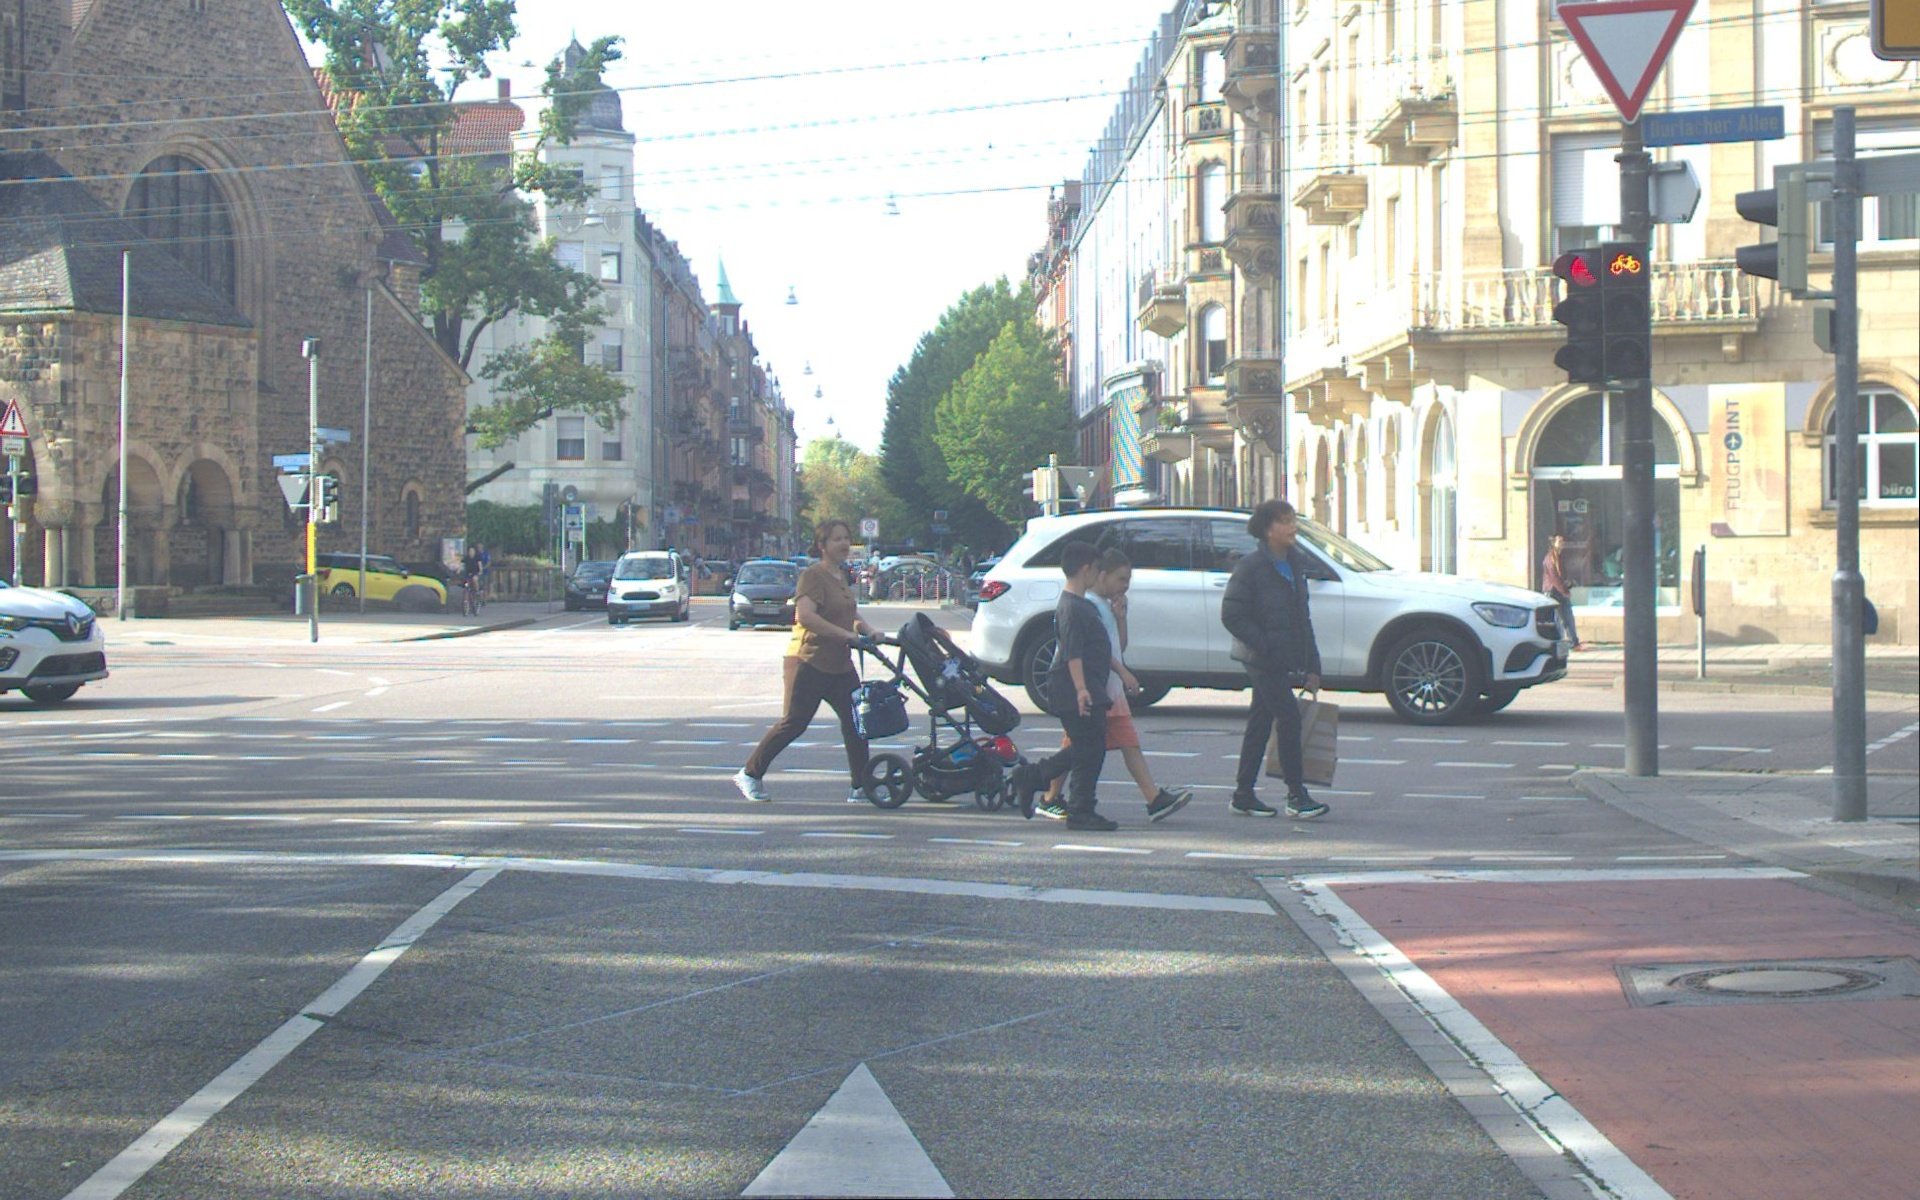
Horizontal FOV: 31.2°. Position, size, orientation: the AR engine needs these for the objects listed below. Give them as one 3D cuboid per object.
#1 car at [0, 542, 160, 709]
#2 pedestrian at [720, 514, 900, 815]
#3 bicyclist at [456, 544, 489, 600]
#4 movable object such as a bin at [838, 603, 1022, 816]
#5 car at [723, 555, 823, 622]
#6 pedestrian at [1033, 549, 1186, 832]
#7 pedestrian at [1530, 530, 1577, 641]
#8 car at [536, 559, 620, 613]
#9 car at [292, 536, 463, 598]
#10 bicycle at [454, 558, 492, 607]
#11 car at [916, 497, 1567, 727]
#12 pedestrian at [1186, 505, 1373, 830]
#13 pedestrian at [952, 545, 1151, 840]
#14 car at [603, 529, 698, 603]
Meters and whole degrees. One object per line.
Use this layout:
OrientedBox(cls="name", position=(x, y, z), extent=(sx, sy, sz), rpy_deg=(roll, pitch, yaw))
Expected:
OrientedBox(cls="car", position=(-9.805, 0.202, 31.964), extent=(4.251, 1.474, 1.896), rpy_deg=(0, 1, 19))
OrientedBox(cls="pedestrian", position=(-0.827, 0.342, 19.030), extent=(0.816, 1.623, 0.604), rpy_deg=(0, 1, 24))
OrientedBox(cls="bicyclist", position=(-11.955, -0.692, 84.338), extent=(0.683, 1.363, 0.780), rpy_deg=(0, 1, -1))
OrientedBox(cls="movable object such as a bin", position=(-0.159, 0.583, 18.685), extent=(0.838, 1.120, 0.575), rpy_deg=(0, 1, 23))
OrientedBox(cls="car", position=(-3.969, -0.271, 73.473), extent=(1.949, 1.367, 4.000), rpy_deg=(0, 1, -1))
OrientedBox(cls="pedestrian", position=(0.775, 0.452, 17.722), extent=(0.656, 1.427, 0.498), rpy_deg=(0, 1, 23))
OrientedBox(cls="pedestrian", position=(8.700, -0.218, 50.384), extent=(0.562, 1.618, 0.600), rpy_deg=(0, 1, 21))
OrientedBox(cls="car", position=(-11.006, -0.429, 99.246), extent=(1.993, 1.492, 4.000), rpy_deg=(0, 1, -1))
OrientedBox(cls="car", position=(-15.169, -0.878, 89.584), extent=(3.988, 1.590, 1.868), rpy_deg=(-1, 1, -39))
OrientedBox(cls="bicycle", position=(-11.951, -0.445, 84.407), extent=(0.691, 1.177, 1.919), rpy_deg=(0, 1, -1))
OrientedBox(cls="car", position=(2.209, 0.062, 26.809), extent=(4.710, 1.677, 2.015), rpy_deg=(0, 1, 19))
OrientedBox(cls="pedestrian", position=(1.681, 0.333, 18.033), extent=(0.782, 1.656, 0.778), rpy_deg=(0, 1, 23))
OrientedBox(cls="pedestrian", position=(0.464, 0.443, 17.179), extent=(0.782, 1.427, 0.730), rpy_deg=(0, 1, 23))
OrientedBox(cls="car", position=(-7.406, -0.839, 82.568), extent=(1.949, 1.744, 4.000), rpy_deg=(0, 1, -1))
